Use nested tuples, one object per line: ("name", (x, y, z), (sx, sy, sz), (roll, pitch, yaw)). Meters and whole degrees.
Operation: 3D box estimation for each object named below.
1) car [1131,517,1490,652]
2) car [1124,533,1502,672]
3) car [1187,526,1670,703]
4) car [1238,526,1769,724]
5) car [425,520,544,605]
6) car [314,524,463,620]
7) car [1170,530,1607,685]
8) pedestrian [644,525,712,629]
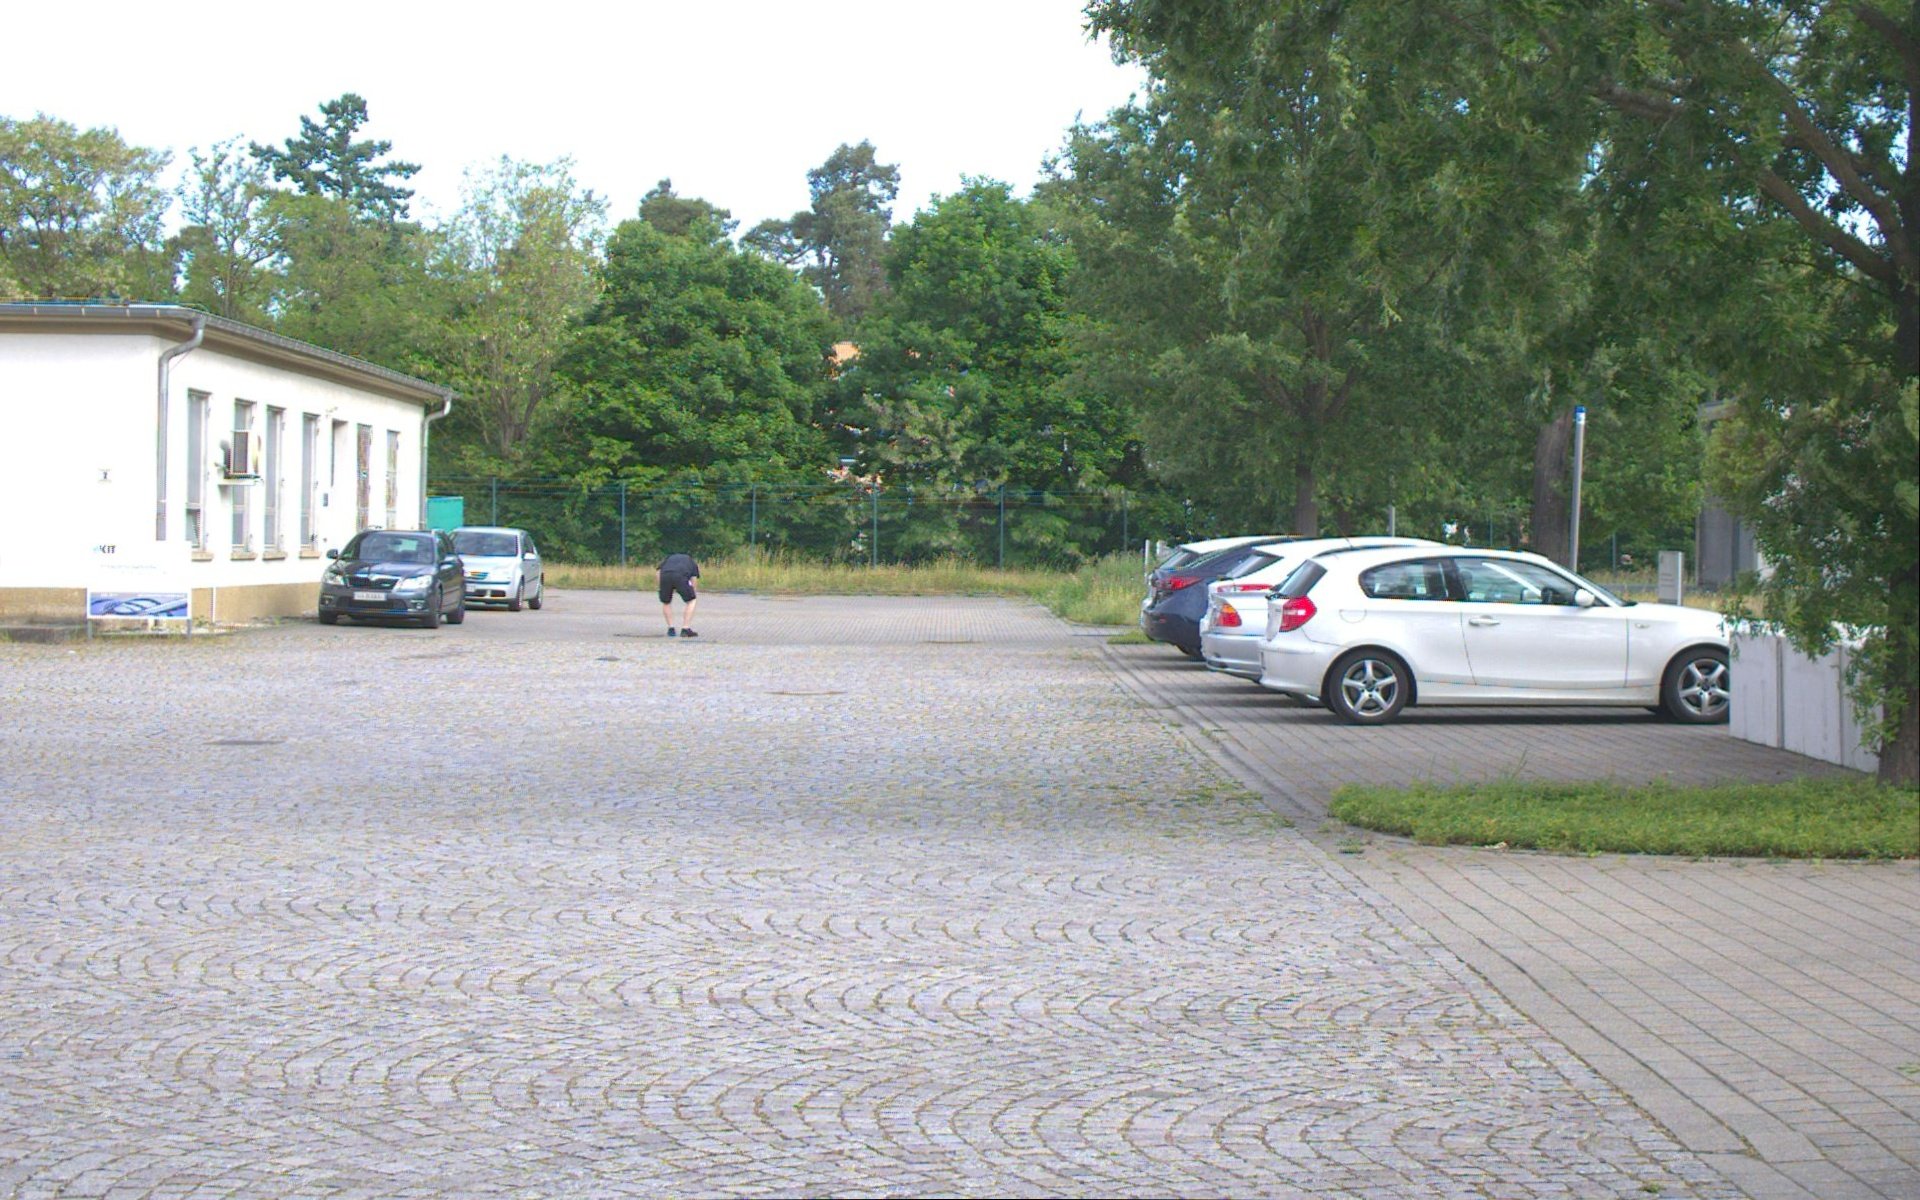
("car", (4.161, -0.202, 41.305), (3.986, 1.528, 2.000), (1, 1, -4))
("car", (3.859, 0.008, 38.093), (3.987, 1.450, 1.770), (1, 1, 0))
("car", (4.046, 0.110, 30.148), (3.987, 1.450, 1.697), (1, 1, 0))
("car", (4.359, 0.191, 28.063), (3.987, 1.450, 2.000), (2, 0, 0))
("car", (-8.549, -0.692, 62.054), (1.749, 1.449, 4.001), (1, 1, -3))
("car", (-8.592, -0.446, 51.954), (1.749, 1.359, 4.001), (1, 1, -3))
("car", (4.079, 0.056, 33.188), (3.987, 1.450, 1.770), (0, 1, 0))
("pedestrian", (-4.278, -0.355, 52.254), (0.940, 1.563, 0.971), (1, 1, -1))
